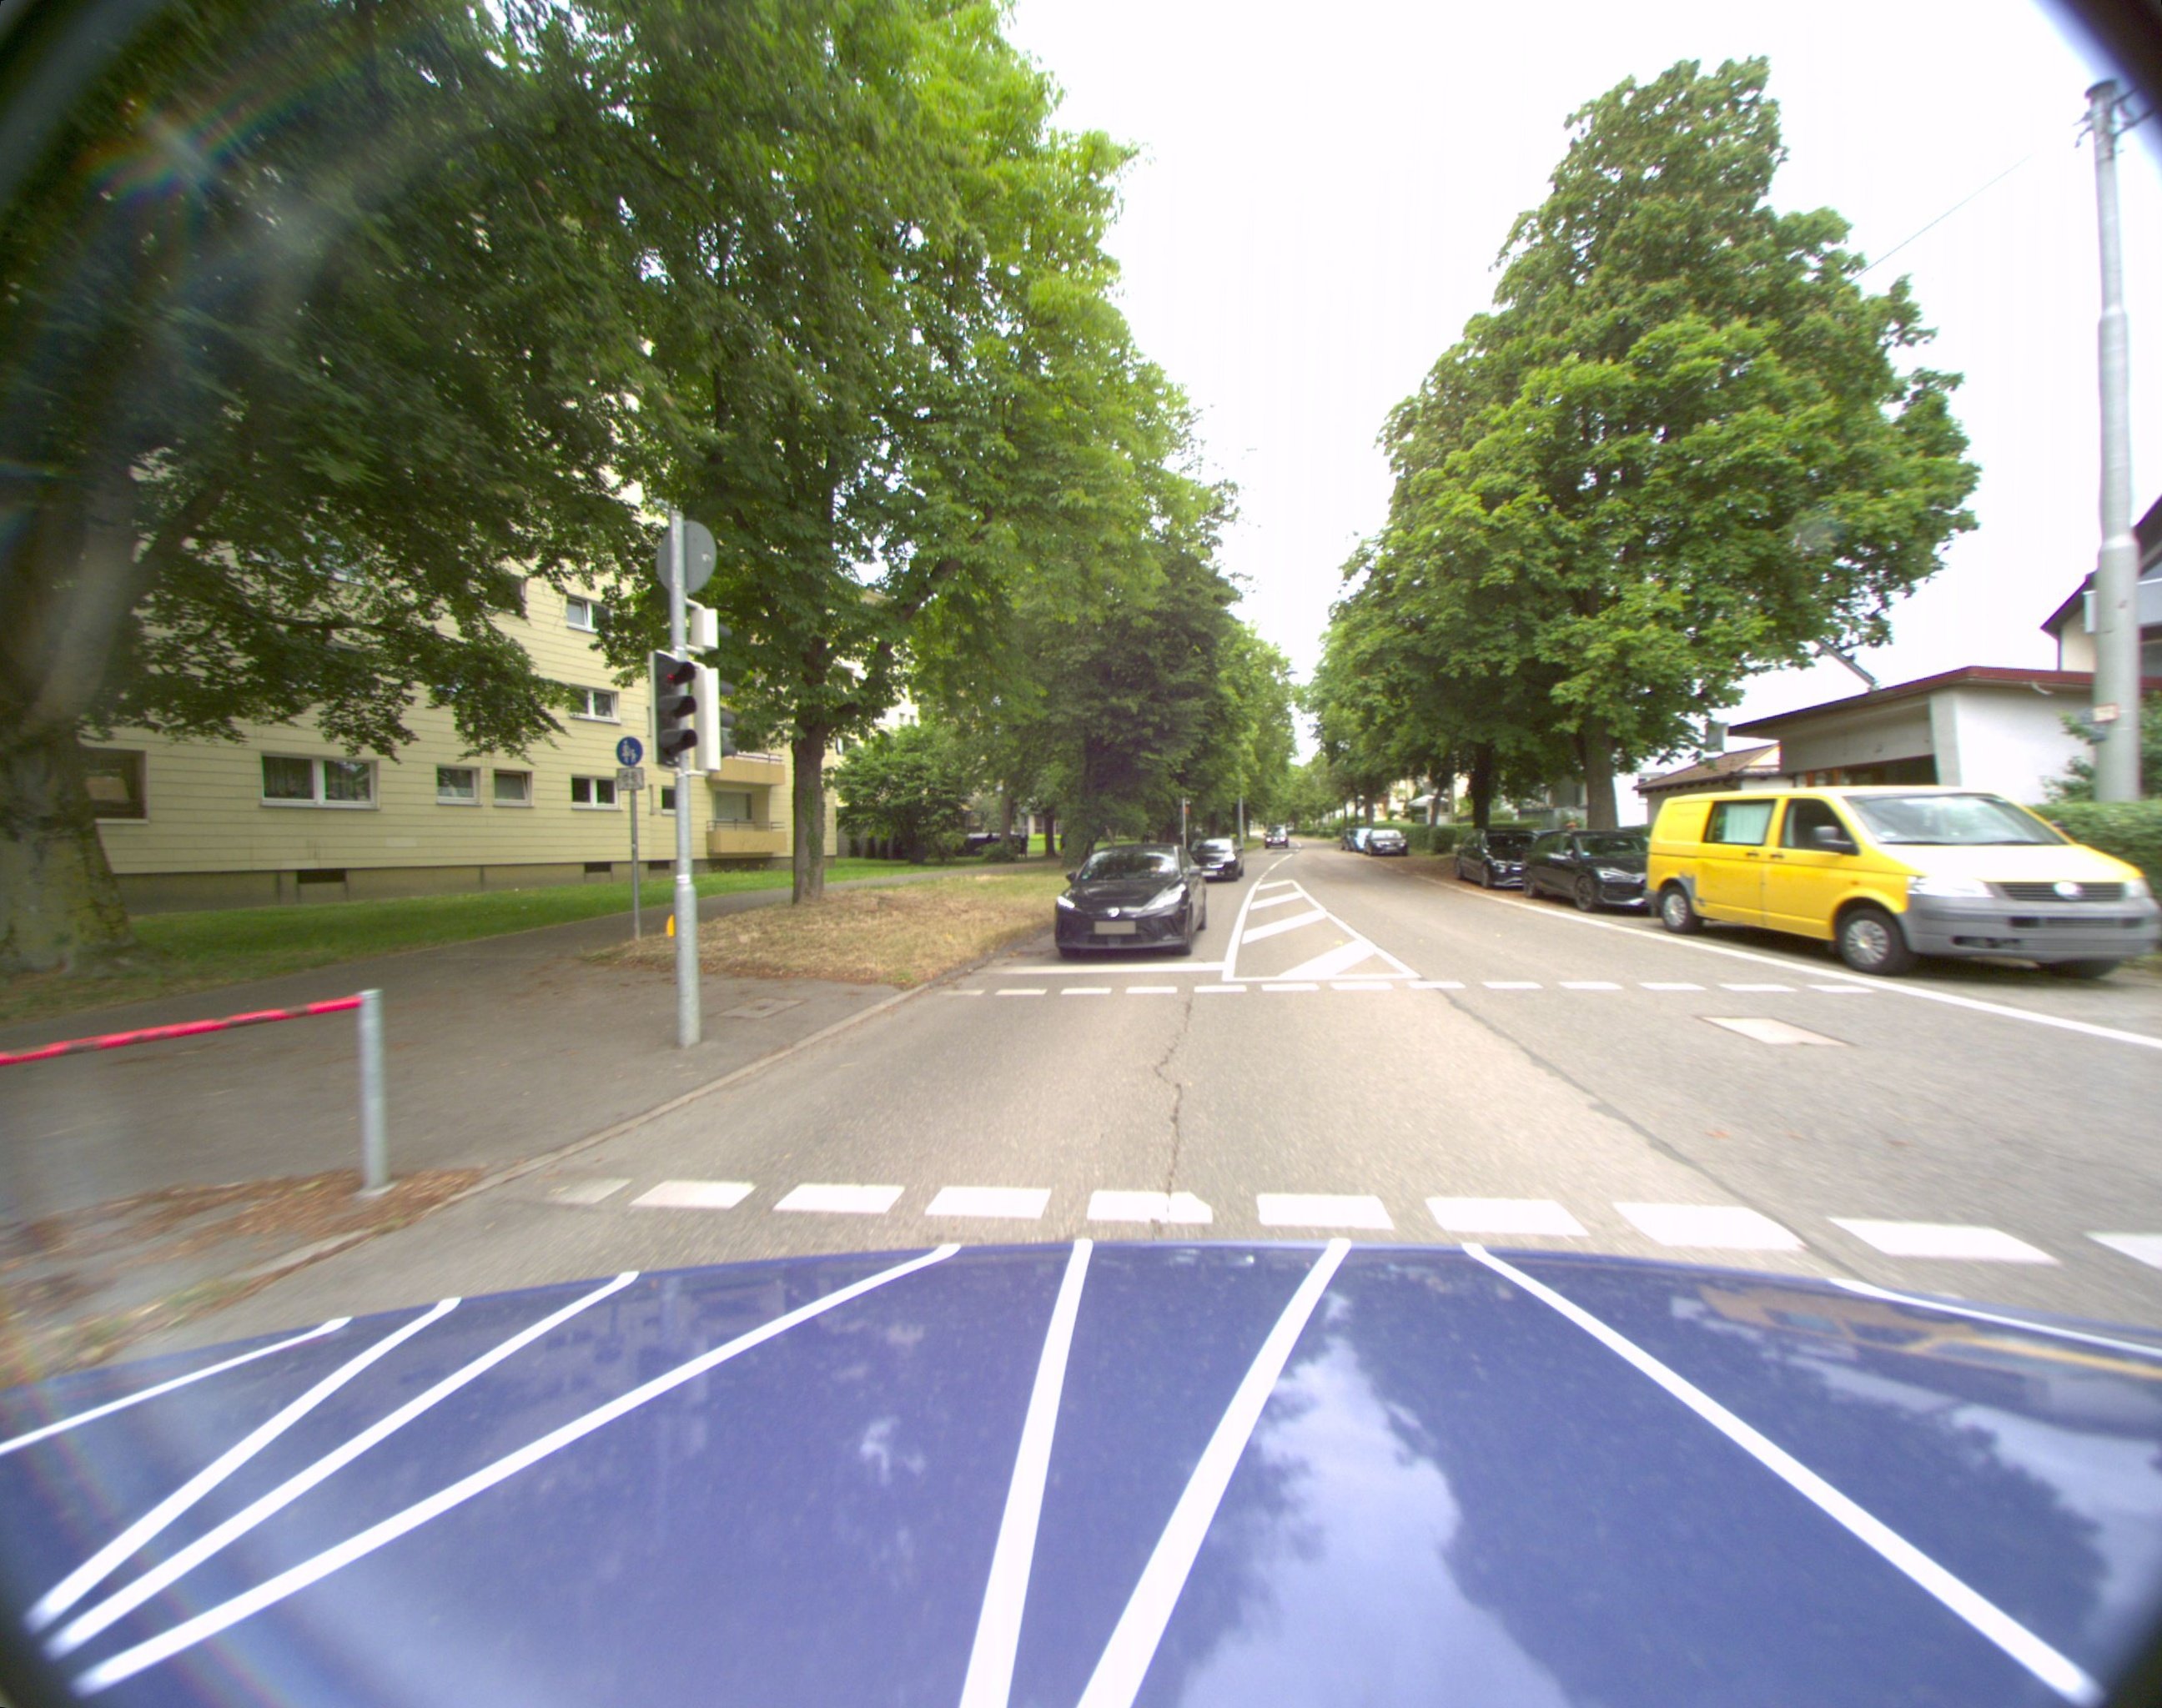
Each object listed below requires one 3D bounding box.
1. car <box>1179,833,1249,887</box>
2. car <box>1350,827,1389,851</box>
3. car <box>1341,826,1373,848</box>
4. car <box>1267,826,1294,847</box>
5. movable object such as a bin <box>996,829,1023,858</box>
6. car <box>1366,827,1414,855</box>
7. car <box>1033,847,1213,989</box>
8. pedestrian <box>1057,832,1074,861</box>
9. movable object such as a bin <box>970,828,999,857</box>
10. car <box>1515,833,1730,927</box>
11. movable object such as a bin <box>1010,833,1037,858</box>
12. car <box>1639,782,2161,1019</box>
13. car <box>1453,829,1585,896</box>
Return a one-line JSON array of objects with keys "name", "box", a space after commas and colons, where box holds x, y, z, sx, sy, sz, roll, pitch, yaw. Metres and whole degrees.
[{"name": "car", "box": [4.488, 0.142, 25.186, 1.812, 1.521, 4.003, -1, 3, 16]}, {"name": "car", "box": [17.115, -0.912, 45.226, 1.635, 1.368, 4.155, -1, 1, 13]}, {"name": "car", "box": [17.892, -1.117, 49.366, 1.539, 1.368, 3.774, -1, 1, 13]}, {"name": "car", "box": [15.822, -1.430, 60.292, 1.996, 1.586, 4.003, -1, 2, 15]}, {"name": "movable object such as a bin", "box": [-4.125, -0.608, 44.019, 1.276, 1.633, 1.021, 1, 4, 11]}, {"name": "car", "box": [15.955, -0.683, 39.381, 1.850, 1.368, 4.598, 0, 1, 16]}, {"name": "car", "box": [0.833, 0.740, 11.035, 1.802, 1.542, 4.302, -1, 2, 14]}, {"name": "pedestrian", "box": [-0.781, -0.377, 37.942, 0.688, 1.374, 0.606, -1, 3, 15]}, {"name": "movable object such as a bin", "box": [-5.602, -0.671, 44.260, 1.433, 1.633, 1.021, 1, 4, 11]}, {"name": "car", "box": [9.932, 0.361, 14.425, 1.748, 1.442, 4.516, -1, 2, 13]}, {"name": "movable object such as a bin", "box": [-3.504, -0.554, 46.464, 1.327, 1.467, 1.202, 1, 3, 11]}, {"name": "car", "box": [8.907, 0.322, 8.779, 1.920, 1.978, 4.802, -1, 2, 8]}, {"name": "car", "box": [10.936, 0.134, 19.354, 1.747, 1.442, 4.597, -1, 2, 15]}]
